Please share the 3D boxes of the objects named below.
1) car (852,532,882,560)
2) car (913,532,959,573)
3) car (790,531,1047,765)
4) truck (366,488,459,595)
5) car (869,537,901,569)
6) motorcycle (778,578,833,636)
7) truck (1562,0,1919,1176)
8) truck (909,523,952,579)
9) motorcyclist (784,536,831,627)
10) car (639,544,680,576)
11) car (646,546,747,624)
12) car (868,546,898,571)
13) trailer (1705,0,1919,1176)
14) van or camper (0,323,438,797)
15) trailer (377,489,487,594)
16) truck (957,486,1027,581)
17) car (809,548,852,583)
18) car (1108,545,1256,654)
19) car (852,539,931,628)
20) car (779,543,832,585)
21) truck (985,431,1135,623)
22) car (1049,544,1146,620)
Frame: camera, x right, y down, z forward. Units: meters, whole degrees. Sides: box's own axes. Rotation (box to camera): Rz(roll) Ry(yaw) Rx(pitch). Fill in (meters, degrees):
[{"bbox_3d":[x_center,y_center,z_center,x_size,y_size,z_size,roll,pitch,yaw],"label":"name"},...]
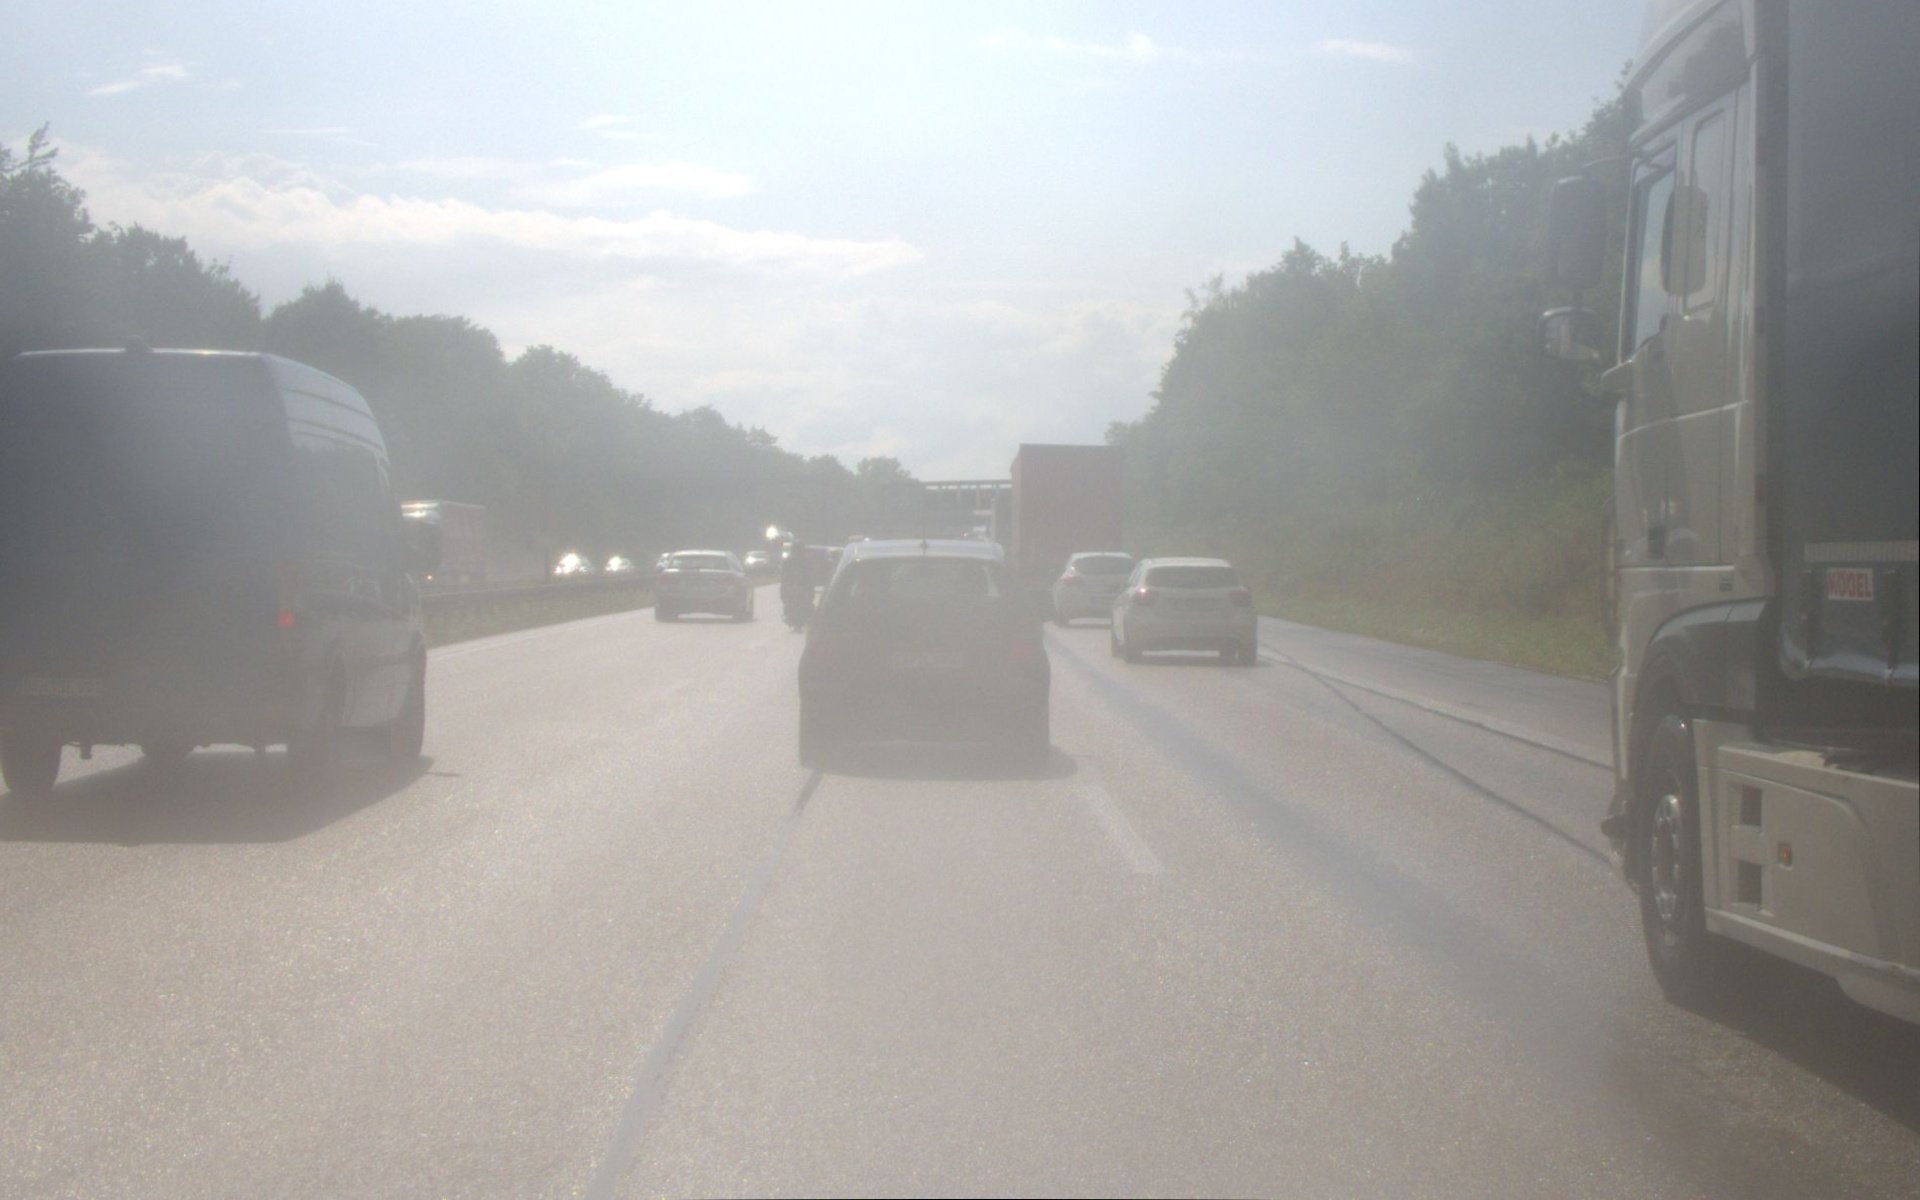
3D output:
[{"bbox_3d":[-4.703,-2.731,173.923,1.485,1.385,3.198,1,1,-1],"label":"car"},{"bbox_3d":[-0.828,-1.633,118.545,1.552,1.378,3.210,1,1,-1],"label":"car"},{"bbox_3d":[-0.305,0.305,24.979,1.717,1.562,3.485,1,1,-1],"label":"car"},{"bbox_3d":[-23.052,-2.454,144.970,2.863,4.358,6.869,1,1,-1],"label":"truck"},{"bbox_3d":[-4.728,-2.983,216.632,1.993,2.007,4.000,0,1,-1],"label":"car"},{"bbox_3d":[-2.776,0.111,61.981,0.890,0.997,2.896,1,1,-1],"label":"motorcycle"},{"bbox_3d":[3.625,-0.604,9.339,2.607,3.982,7.290,1,1,0],"label":"truck"},{"bbox_3d":[-1.568,-2.542,179.810,2.192,2.865,4.850,1,1,-1],"label":"truck"},{"bbox_3d":[-2.757,-0.337,62.102,0.801,1.627,1.013,1,0,-1],"label":"motorcyclist"},{"bbox_3d":[-16.193,-2.155,185.436,1.837,1.657,4.441,1,1,-1],"label":"car"},{"bbox_3d":[-5.445,-0.328,71.392,1.854,1.546,3.485,1,1,-1],"label":"car"},{"bbox_3d":[-5.387,-2.932,240.701,1.993,1.695,4.000,0,1,-1],"label":"car"},{"bbox_3d":[3.674,-0.539,3.514,2.634,3.982,14.065,1,1,0],"label":"trailer"},{"bbox_3d":[-4.744,-0.258,22.133,1.993,2.659,5.385,1,1,-1],"label":"van or camper"},{"bbox_3d":[-23.147,-2.527,151.445,2.863,4.358,14.093,1,1,-1],"label":"trailer"},{"bbox_3d":[1.609,-3.235,169.445,3.256,4.464,12.421,1,1,1],"label":"truck"},{"bbox_3d":[-5.481,-1.458,146.034,1.751,1.452,3.390,1,1,-1],"label":"car"},{"bbox_3d":[3.026,-0.027,47.534,1.692,1.420,4.220,1,1,-1],"label":"car"},{"bbox_3d":[-1.386,-0.354,69.913,1.531,1.740,3.485,1,1,-1],"label":"car"},{"bbox_3d":[-5.453,-1.284,121.523,1.751,1.452,3.390,1,1,-1],"label":"car"},{"bbox_3d":[2.599,-1.892,93.215,3.650,4.704,16.779,1,1,1],"label":"truck"},{"bbox_3d":[2.692,-0.367,67.814,1.680,1.437,3.905,1,1,-1],"label":"car"}]
